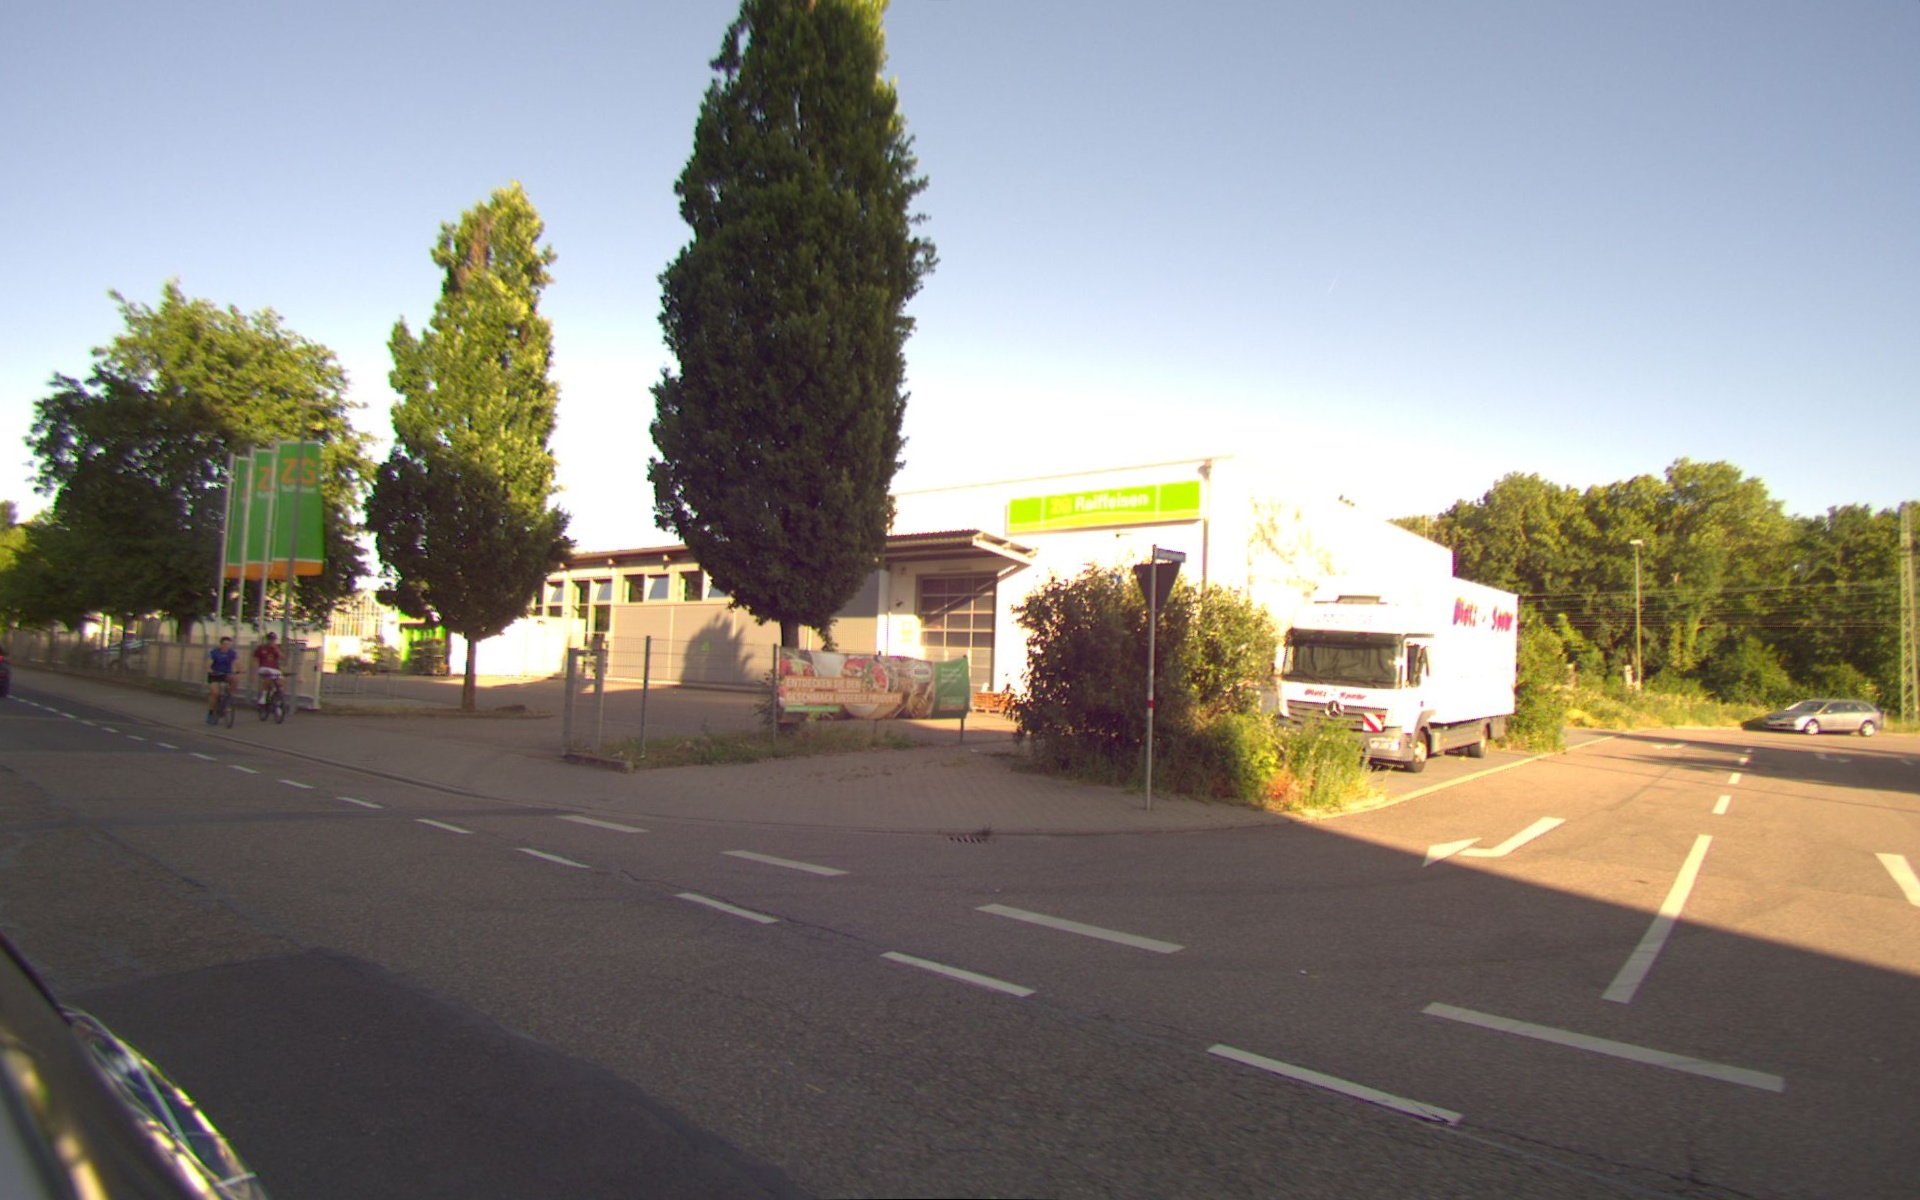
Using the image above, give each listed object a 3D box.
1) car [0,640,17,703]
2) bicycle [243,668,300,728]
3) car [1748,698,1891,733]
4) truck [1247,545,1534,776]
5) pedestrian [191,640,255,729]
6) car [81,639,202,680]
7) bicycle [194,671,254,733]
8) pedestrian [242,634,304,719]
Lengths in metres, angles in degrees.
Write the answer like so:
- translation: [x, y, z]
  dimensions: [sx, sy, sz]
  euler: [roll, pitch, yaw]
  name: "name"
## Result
- translation: [-25.801, 1.728, 25.945]
  dimensions: [4.108, 1.537, 1.723]
  euler: [-2, -9, 40]
  name: "car"
- translation: [-14.425, 2.024, 21.179]
  dimensions: [1.868, 1.157, 0.465]
  euler: [-2, -4, 40]
  name: "bicycle"
- translation: [35.272, 4.733, 41.586]
  dimensions: [4.361, 1.224, 1.704]
  euler: [2, -4, 0]
  name: "car"
- translation: [9.244, 1.237, 20.724]
  dimensions: [2.773, 3.642, 9.998]
  euler: [-1, -4, 39]
  name: "truck"
- translation: [-14.927, 1.689, 20.497]
  dimensions: [1.056, 1.734, 0.713]
  euler: [-2, -5, 40]
  name: "pedestrian"
- translation: [-36.699, 2.693, 45.442]
  dimensions: [1.784, 1.523, 3.850]
  euler: [-2, -8, 40]
  name: "car"
- translation: [-14.996, 2.044, 20.598]
  dimensions: [2.199, 1.157, 0.441]
  euler: [-2, -4, 40]
  name: "bicycle"
- translation: [-14.379, 1.593, 21.187]
  dimensions: [1.056, 1.734, 0.713]
  euler: [-2, -5, 40]
  name: "pedestrian"
